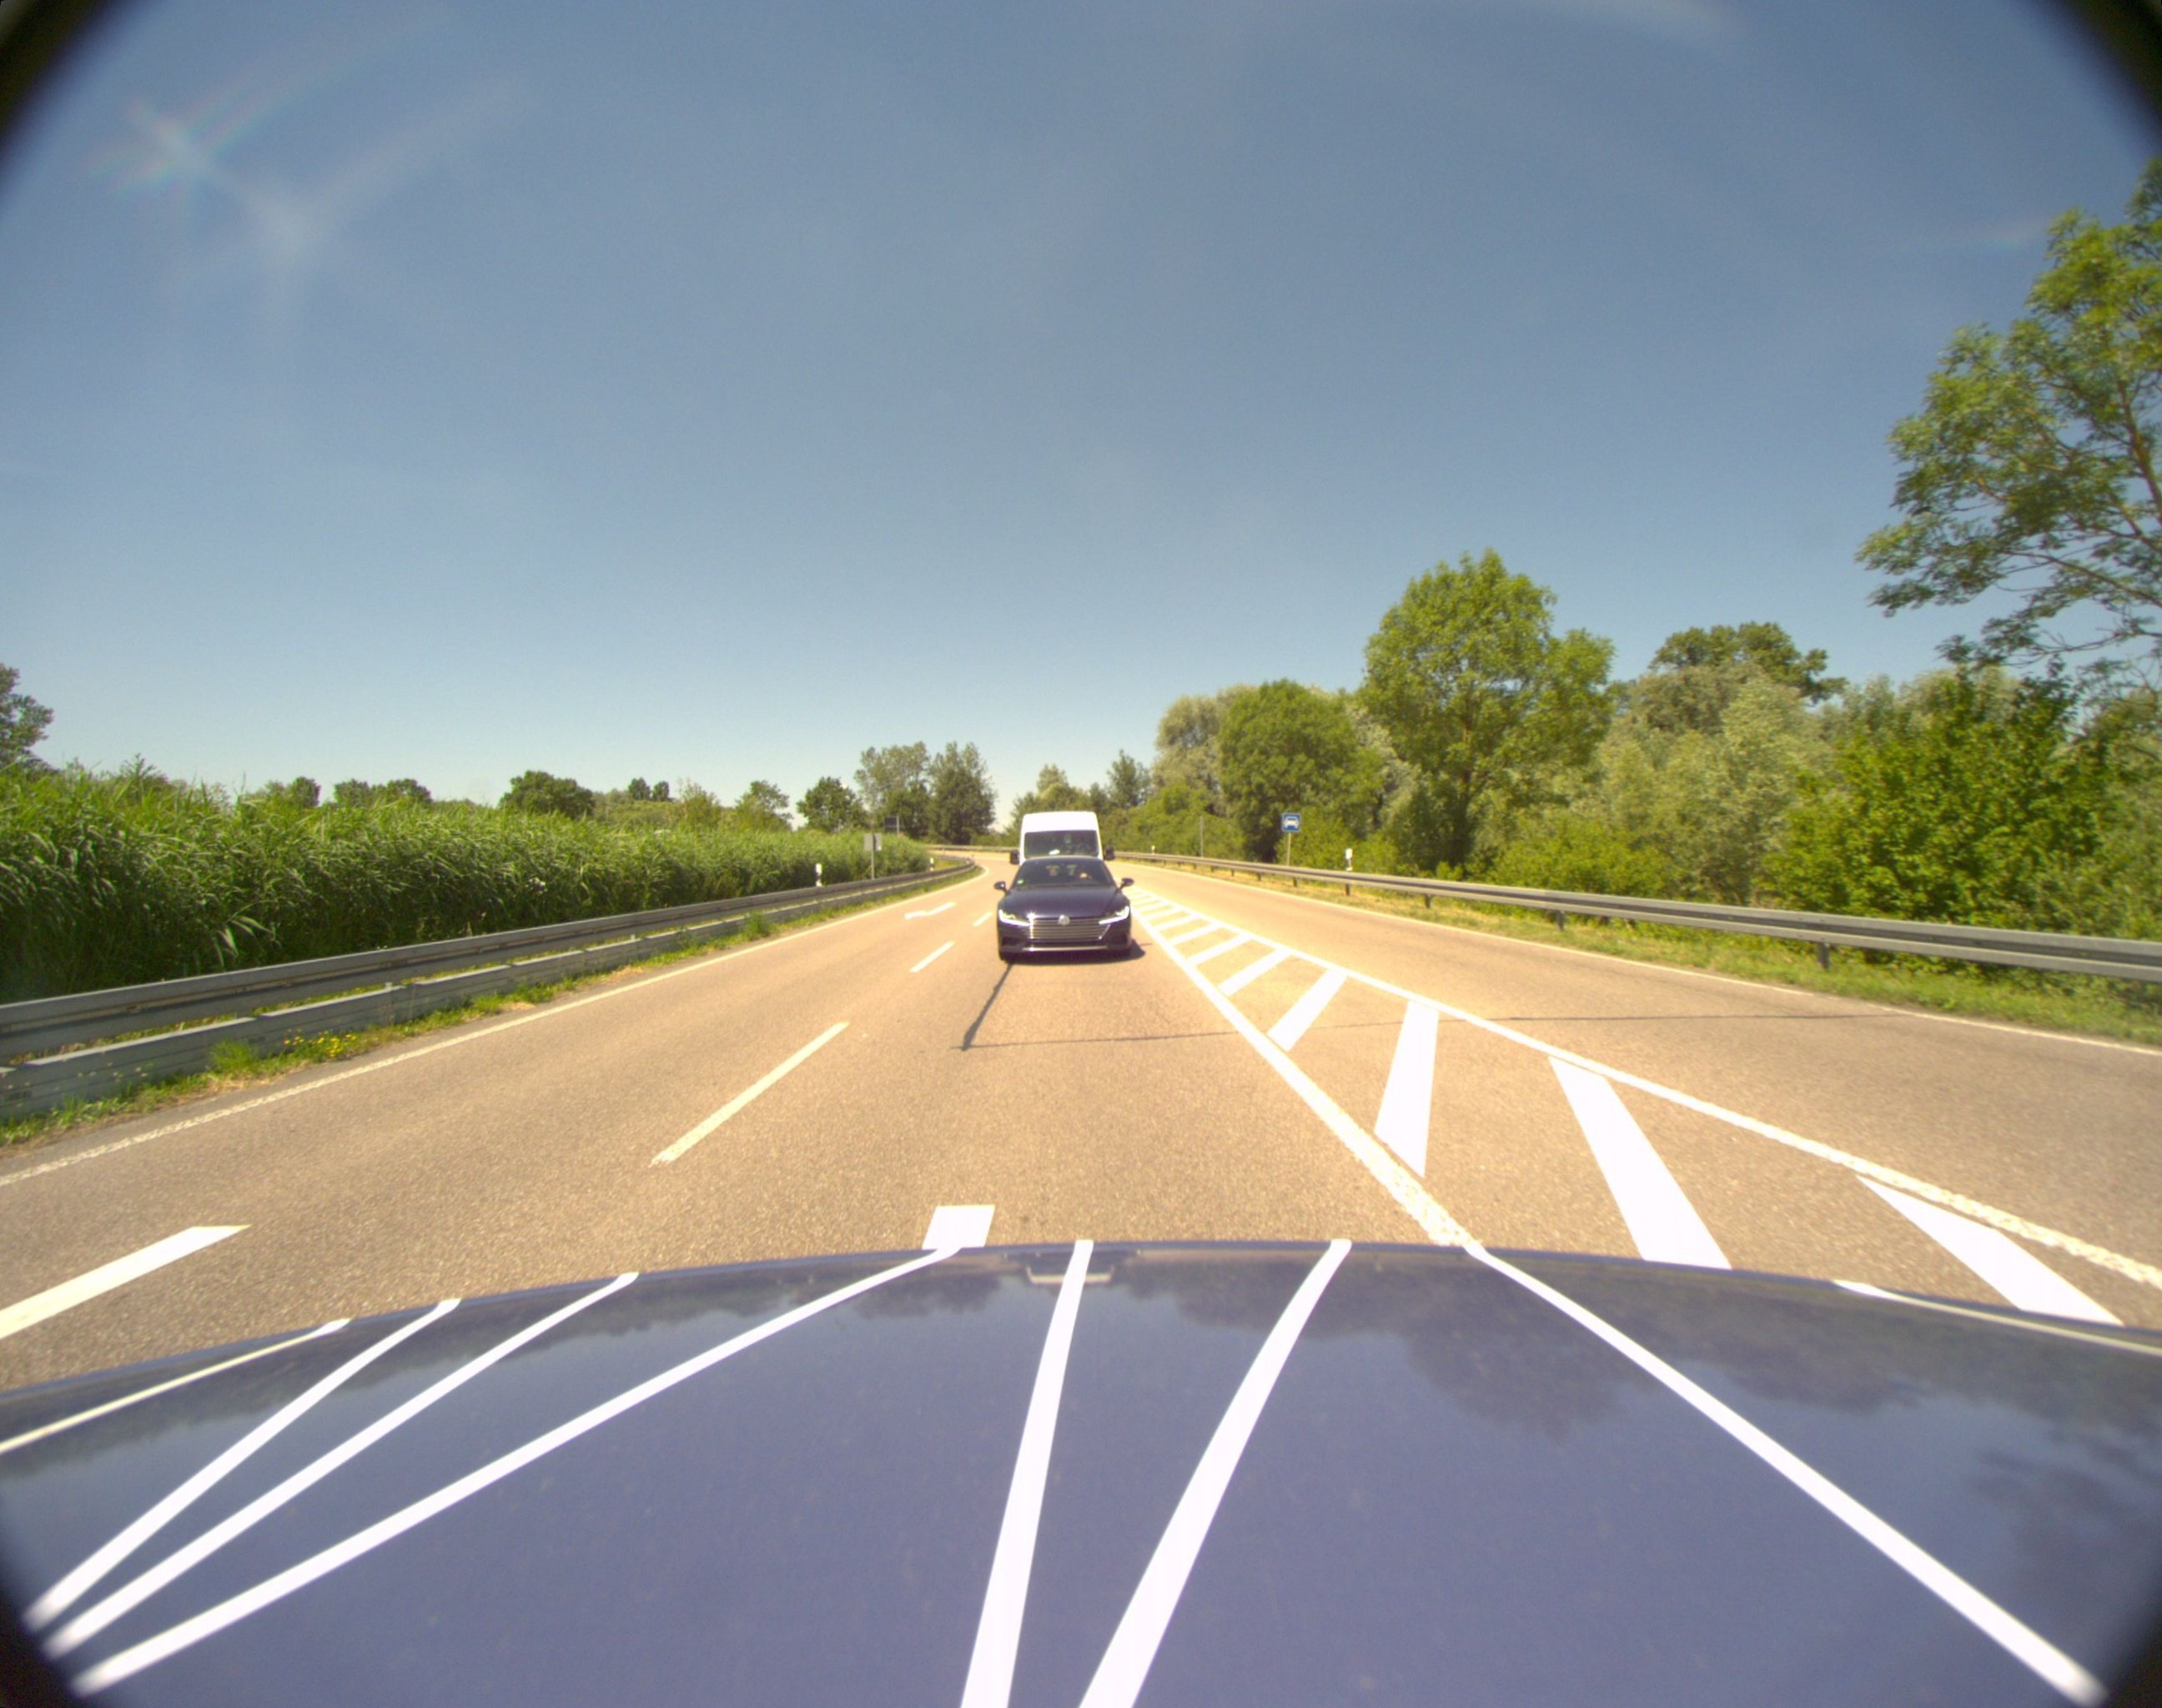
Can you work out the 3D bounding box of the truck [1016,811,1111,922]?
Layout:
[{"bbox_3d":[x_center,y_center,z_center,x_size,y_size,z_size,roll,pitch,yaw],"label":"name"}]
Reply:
[{"bbox_3d":[-0.572,0.238,19.581,2.011,2.365,5.909,-2,1,-4],"label":"truck"}]

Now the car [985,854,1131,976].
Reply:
[{"bbox_3d":[-0.272,0.785,11.902,1.819,1.454,4.415,-2,1,1],"label":"car"}]
